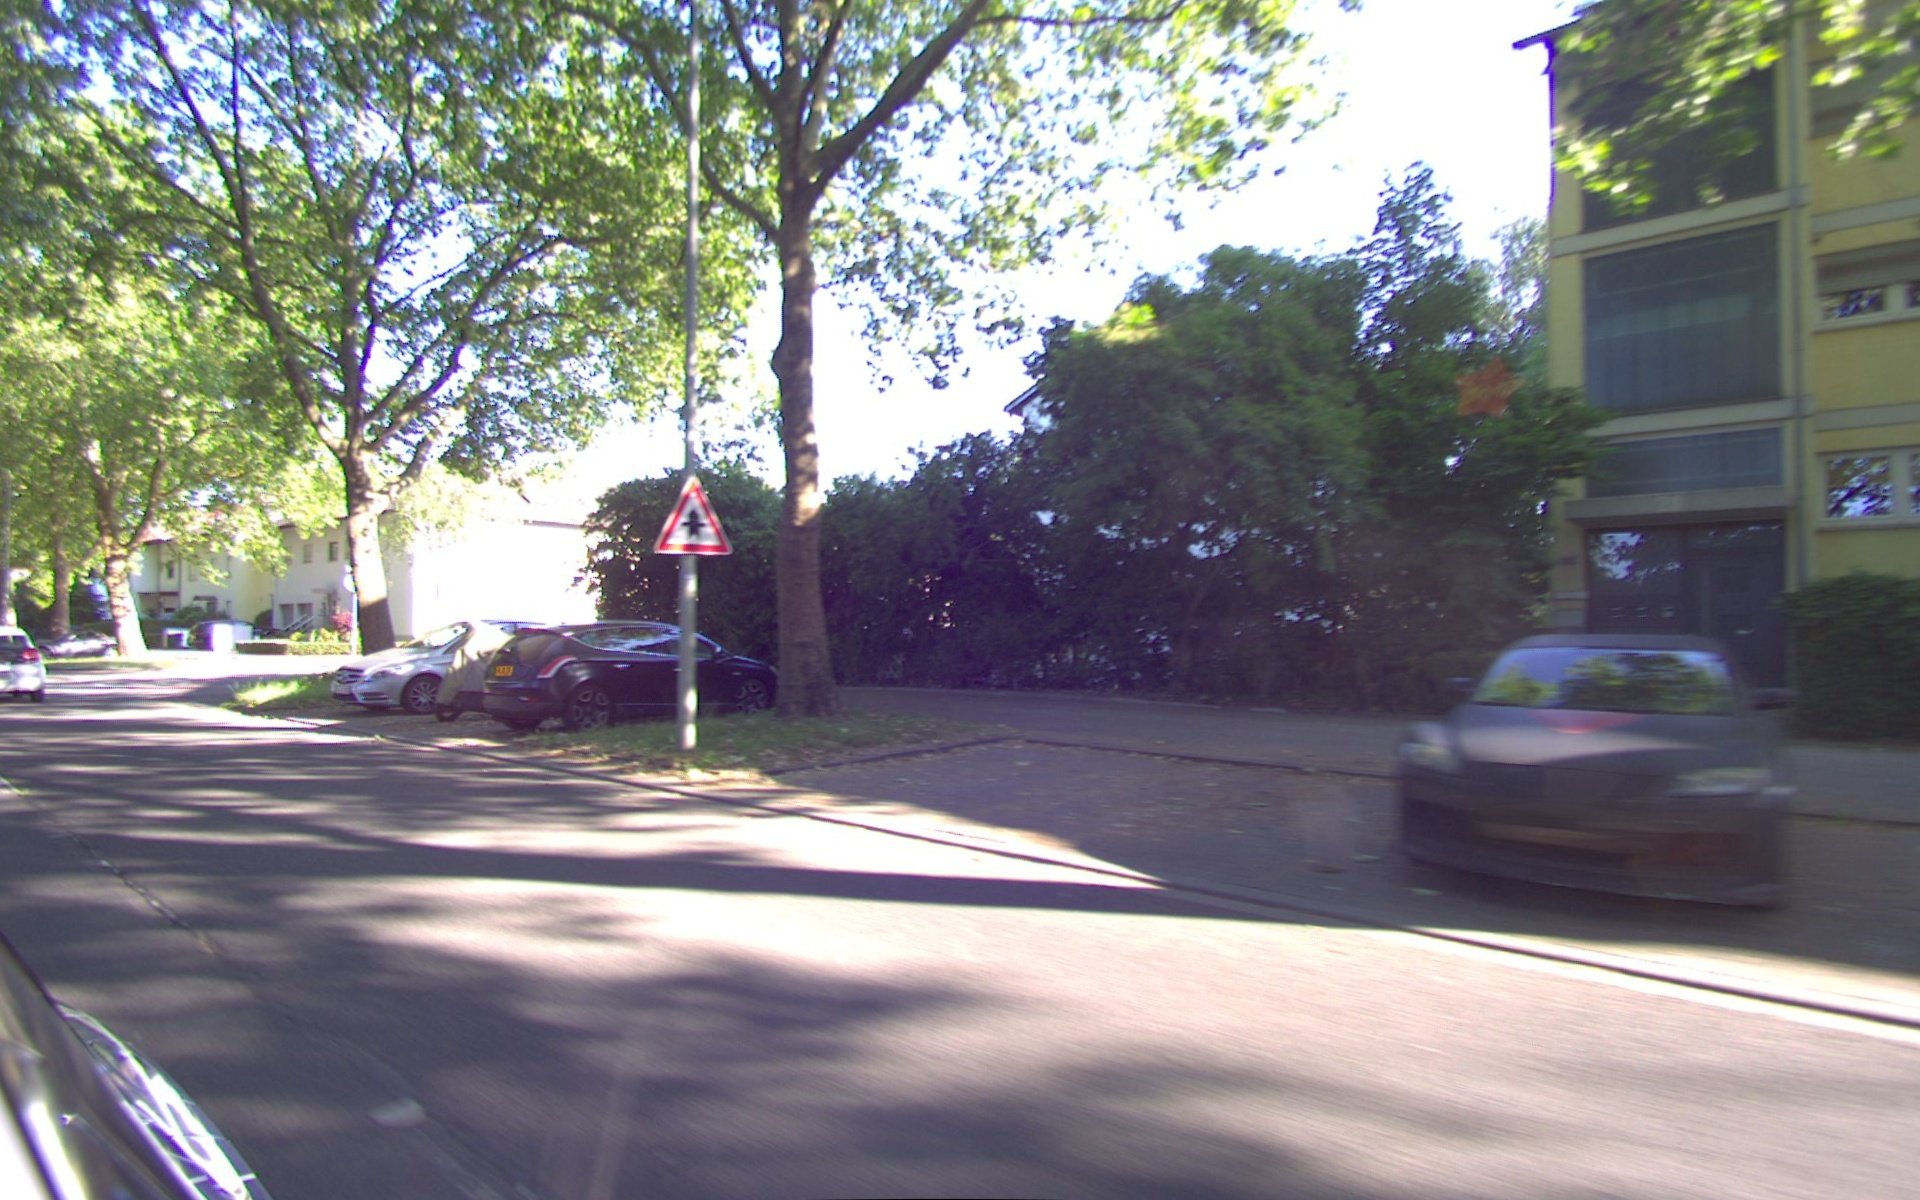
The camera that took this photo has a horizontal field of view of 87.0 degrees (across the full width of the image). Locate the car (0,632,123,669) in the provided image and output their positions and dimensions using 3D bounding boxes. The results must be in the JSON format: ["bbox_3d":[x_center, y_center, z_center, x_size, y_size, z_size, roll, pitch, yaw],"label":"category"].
[{"bbox_3d":[-36.939,2.033,41.476,1.787,1.326,3.789,-1,-1,38],"label":"car"}]

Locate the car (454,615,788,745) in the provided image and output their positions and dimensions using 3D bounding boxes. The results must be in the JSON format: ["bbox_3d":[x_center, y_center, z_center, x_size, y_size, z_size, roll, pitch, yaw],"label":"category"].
[{"bbox_3d":[-4.510,0.989,14.031,1.799,1.518,4.122,-2,-2,37],"label":"car"}]

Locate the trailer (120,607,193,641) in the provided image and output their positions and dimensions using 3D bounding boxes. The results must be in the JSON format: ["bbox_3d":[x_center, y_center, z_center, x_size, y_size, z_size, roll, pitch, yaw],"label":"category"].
[{"bbox_3d":[-53.117,1.565,66.956,1.640,1.940,3.423,-3,1,36],"label":"trailer"}]

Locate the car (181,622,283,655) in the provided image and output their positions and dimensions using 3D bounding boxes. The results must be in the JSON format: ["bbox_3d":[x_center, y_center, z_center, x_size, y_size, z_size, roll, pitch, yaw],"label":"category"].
[{"bbox_3d":[-38.014,1.980,52.904,1.899,1.475,3.948,-2,0,39],"label":"car"}]

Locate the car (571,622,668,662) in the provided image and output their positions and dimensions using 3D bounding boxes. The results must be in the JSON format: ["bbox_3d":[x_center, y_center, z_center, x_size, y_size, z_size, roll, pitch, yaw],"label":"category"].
[{"bbox_3d":[-14.379,1.729,42.711,3.993,1.587,1.975,-1,-1,37],"label":"car"}]

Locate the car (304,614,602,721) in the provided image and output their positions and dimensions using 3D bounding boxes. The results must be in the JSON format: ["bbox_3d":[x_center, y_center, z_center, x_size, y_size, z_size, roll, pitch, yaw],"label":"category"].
[{"bbox_3d":[-8.564,1.066,17.421,1.996,1.596,4.146,-1,-2,36],"label":"car"}]

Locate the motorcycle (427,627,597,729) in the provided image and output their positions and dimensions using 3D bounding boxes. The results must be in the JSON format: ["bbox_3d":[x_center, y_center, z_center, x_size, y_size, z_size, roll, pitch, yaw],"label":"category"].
[{"bbox_3d":[-6.703,1.118,15.294,0.647,1.399,2.364,-2,-2,35],"label":"motorcycle"}]

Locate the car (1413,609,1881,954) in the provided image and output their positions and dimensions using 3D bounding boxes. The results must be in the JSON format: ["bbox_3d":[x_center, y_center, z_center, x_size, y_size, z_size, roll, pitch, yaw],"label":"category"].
[{"bbox_3d":[4.281,0.791,6.215,1.739,1.363,4.198,-1,-2,39],"label":"car"}]

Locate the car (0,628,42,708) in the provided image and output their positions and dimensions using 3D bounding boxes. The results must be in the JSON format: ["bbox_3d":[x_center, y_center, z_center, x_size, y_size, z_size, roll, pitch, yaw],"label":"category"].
[{"bbox_3d":[-19.014,1.285,19.465,3.181,1.470,1.520,-2,-2,39],"label":"car"}]
